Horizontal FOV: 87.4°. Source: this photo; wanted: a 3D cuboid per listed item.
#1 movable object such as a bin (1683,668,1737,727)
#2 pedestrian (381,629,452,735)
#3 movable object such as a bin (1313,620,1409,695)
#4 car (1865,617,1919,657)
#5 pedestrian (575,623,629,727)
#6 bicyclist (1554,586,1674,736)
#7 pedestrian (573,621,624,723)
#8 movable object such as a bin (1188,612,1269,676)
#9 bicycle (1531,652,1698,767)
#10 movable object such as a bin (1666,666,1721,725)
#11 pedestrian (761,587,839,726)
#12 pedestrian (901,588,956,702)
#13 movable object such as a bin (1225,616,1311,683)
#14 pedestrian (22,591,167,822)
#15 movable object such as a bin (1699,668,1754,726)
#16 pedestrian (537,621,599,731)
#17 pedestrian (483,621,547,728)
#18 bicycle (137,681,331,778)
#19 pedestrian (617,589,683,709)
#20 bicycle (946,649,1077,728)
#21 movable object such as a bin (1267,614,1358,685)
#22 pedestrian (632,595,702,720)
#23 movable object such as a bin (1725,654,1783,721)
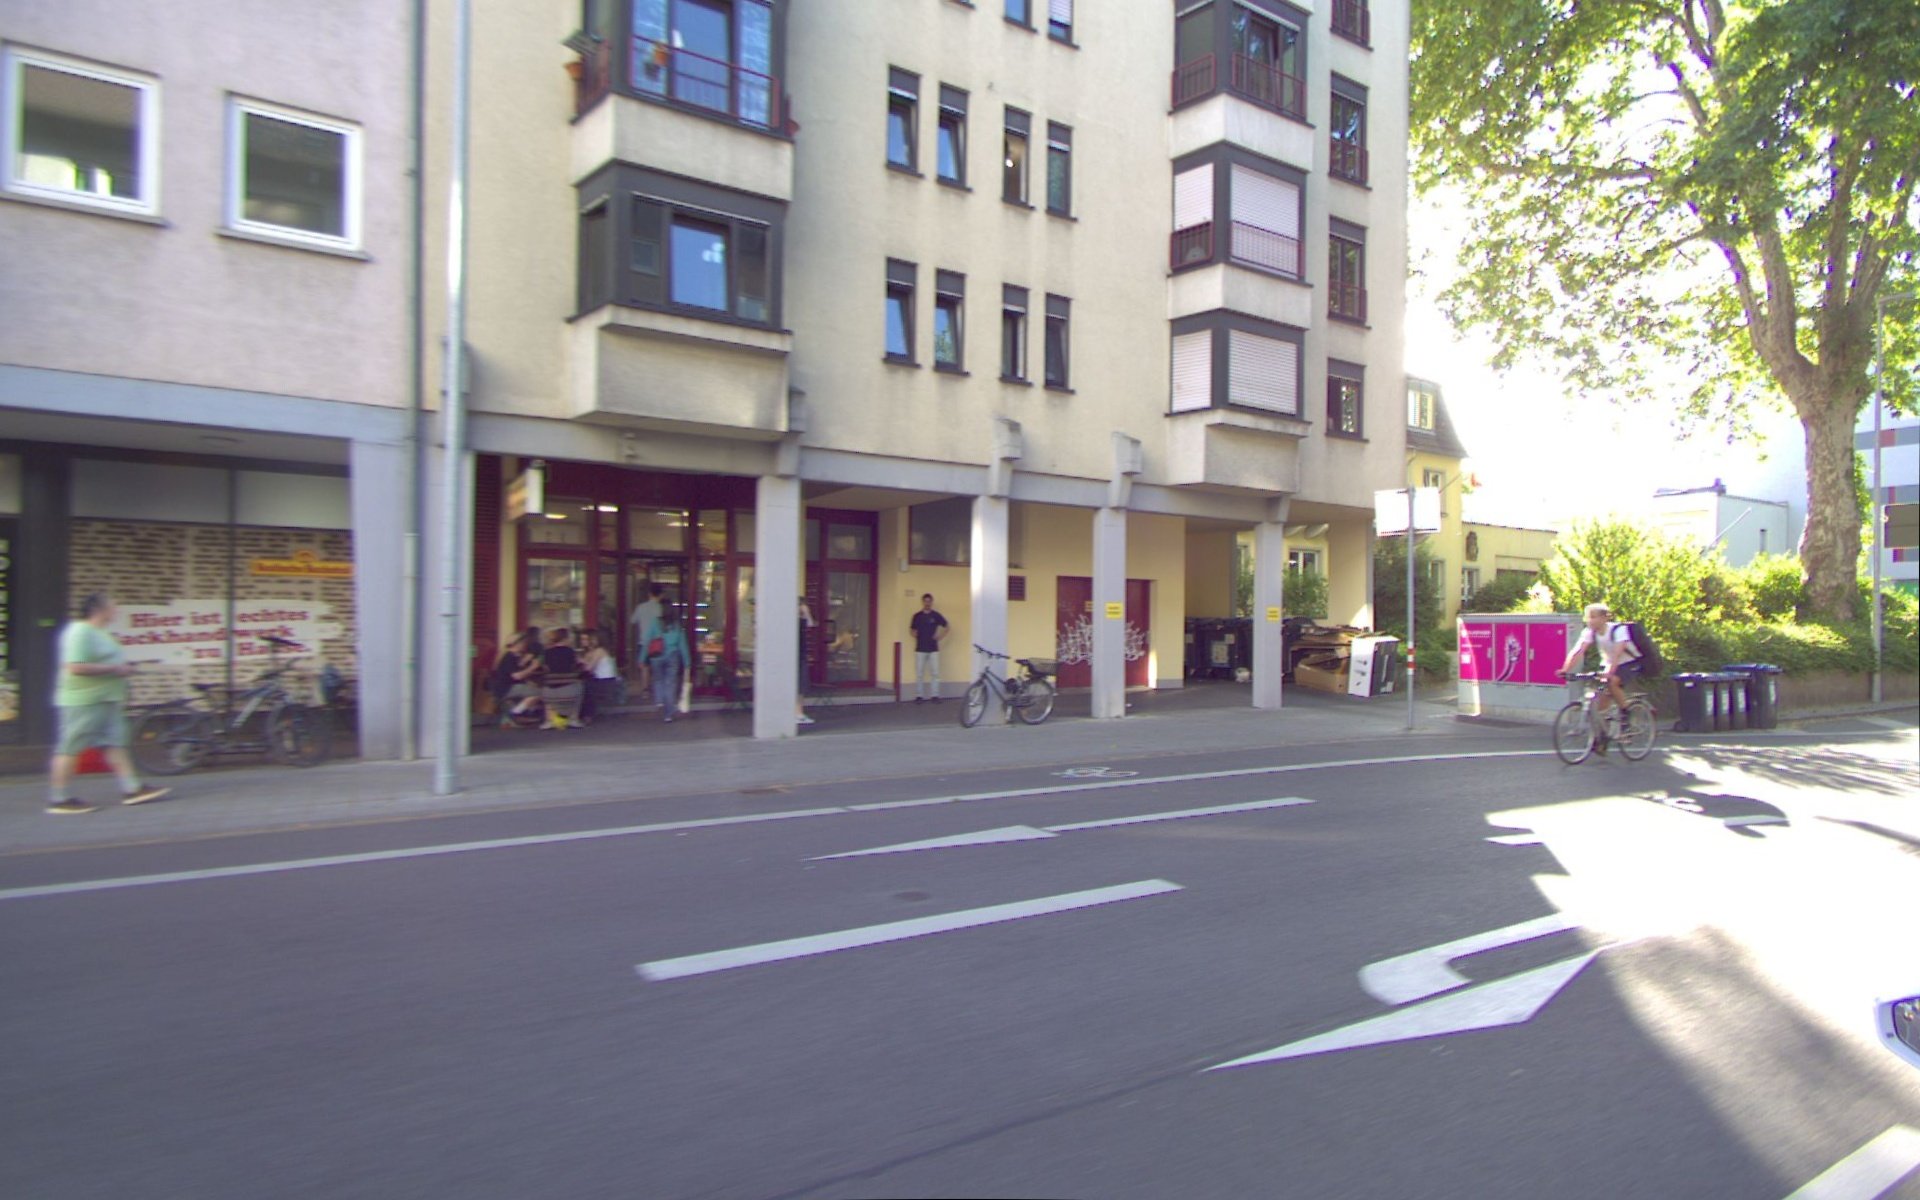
[{"bbox_3d":[12.416,1.600,16.631,0.553,0.913,0.538,1,-1,-31],"label":"movable object such as a bin"},{"bbox_3d":[-6.885,1.031,12.747,0.678,1.284,0.566,2,0,-20],"label":"pedestrian"},{"bbox_3d":[8.237,1.154,20.657,1.352,1.361,1.181,1,4,-31],"label":"movable object such as a bin"},{"bbox_3d":[38.700,1.473,40.817,3.955,1.484,1.780,1,2,-31],"label":"car"},{"bbox_3d":[-4.914,1.012,13.778,0.606,1.370,0.707,1,0,-25],"label":"pedestrian"},{"bbox_3d":[7.640,0.692,11.727,1.154,1.663,0.725,1,-1,-30],"label":"bicyclist"},{"bbox_3d":[-5.213,1.016,14.451,0.606,1.396,0.707,1,0,-25],"label":"pedestrian"},{"bbox_3d":[6.371,1.022,23.859,1.352,1.361,1.181,1,4,-31],"label":"movable object such as a bin"},{"bbox_3d":[7.662,1.229,11.736,2.153,1.215,0.725,1,-2,-30],"label":"bicycle"},{"bbox_3d":[11.917,1.540,16.325,0.597,0.913,0.538,1,-1,-31],"label":"movable object such as a bin"},{"bbox_3d":[-2.296,0.784,14.360,0.797,1.894,0.818,2,1,-32],"label":"pedestrian"},{"bbox_3d":[-0.545,0.763,17.147,0.782,1.894,0.613,2,1,-14],"label":"pedestrian"},{"bbox_3d":[6.986,1.100,22.807,1.352,1.361,1.181,1,4,-31],"label":"movable object such as a bin"},{"bbox_3d":[-7.038,0.817,8.211,0.714,1.763,0.828,1,0,-30],"label":"pedestrian"},{"bbox_3d":[12.934,1.623,16.952,0.637,0.913,0.538,1,-1,-31],"label":"movable object such as a bin"},{"bbox_3d":[-5.154,0.984,13.204,0.701,1.386,0.611,1,0,-25],"label":"pedestrian"},{"bbox_3d":[-5.911,0.972,13.343,0.730,1.354,0.707,2,0,-26],"label":"pedestrian"},{"bbox_3d":[-7.135,1.256,9.939,1.504,0.835,0.356,1,0,-29],"label":"bicycle"},{"bbox_3d":[-4.680,0.724,15.196,0.697,1.765,0.615,2,0,11],"label":"pedestrian"},{"bbox_3d":[0.768,1.264,14.619,1.988,1.059,0.446,1,-1,-31],"label":"bicycle"},{"bbox_3d":[7.618,1.052,21.726,1.352,1.361,1.181,1,4,-31],"label":"movable object such as a bin"},{"bbox_3d":[-4.090,0.789,14.066,0.697,1.688,0.615,2,0,11],"label":"pedestrian"},{"bbox_3d":[13.571,1.478,17.175,0.637,1.085,0.591,1,-1,-31],"label":"movable object such as a bin"}]
